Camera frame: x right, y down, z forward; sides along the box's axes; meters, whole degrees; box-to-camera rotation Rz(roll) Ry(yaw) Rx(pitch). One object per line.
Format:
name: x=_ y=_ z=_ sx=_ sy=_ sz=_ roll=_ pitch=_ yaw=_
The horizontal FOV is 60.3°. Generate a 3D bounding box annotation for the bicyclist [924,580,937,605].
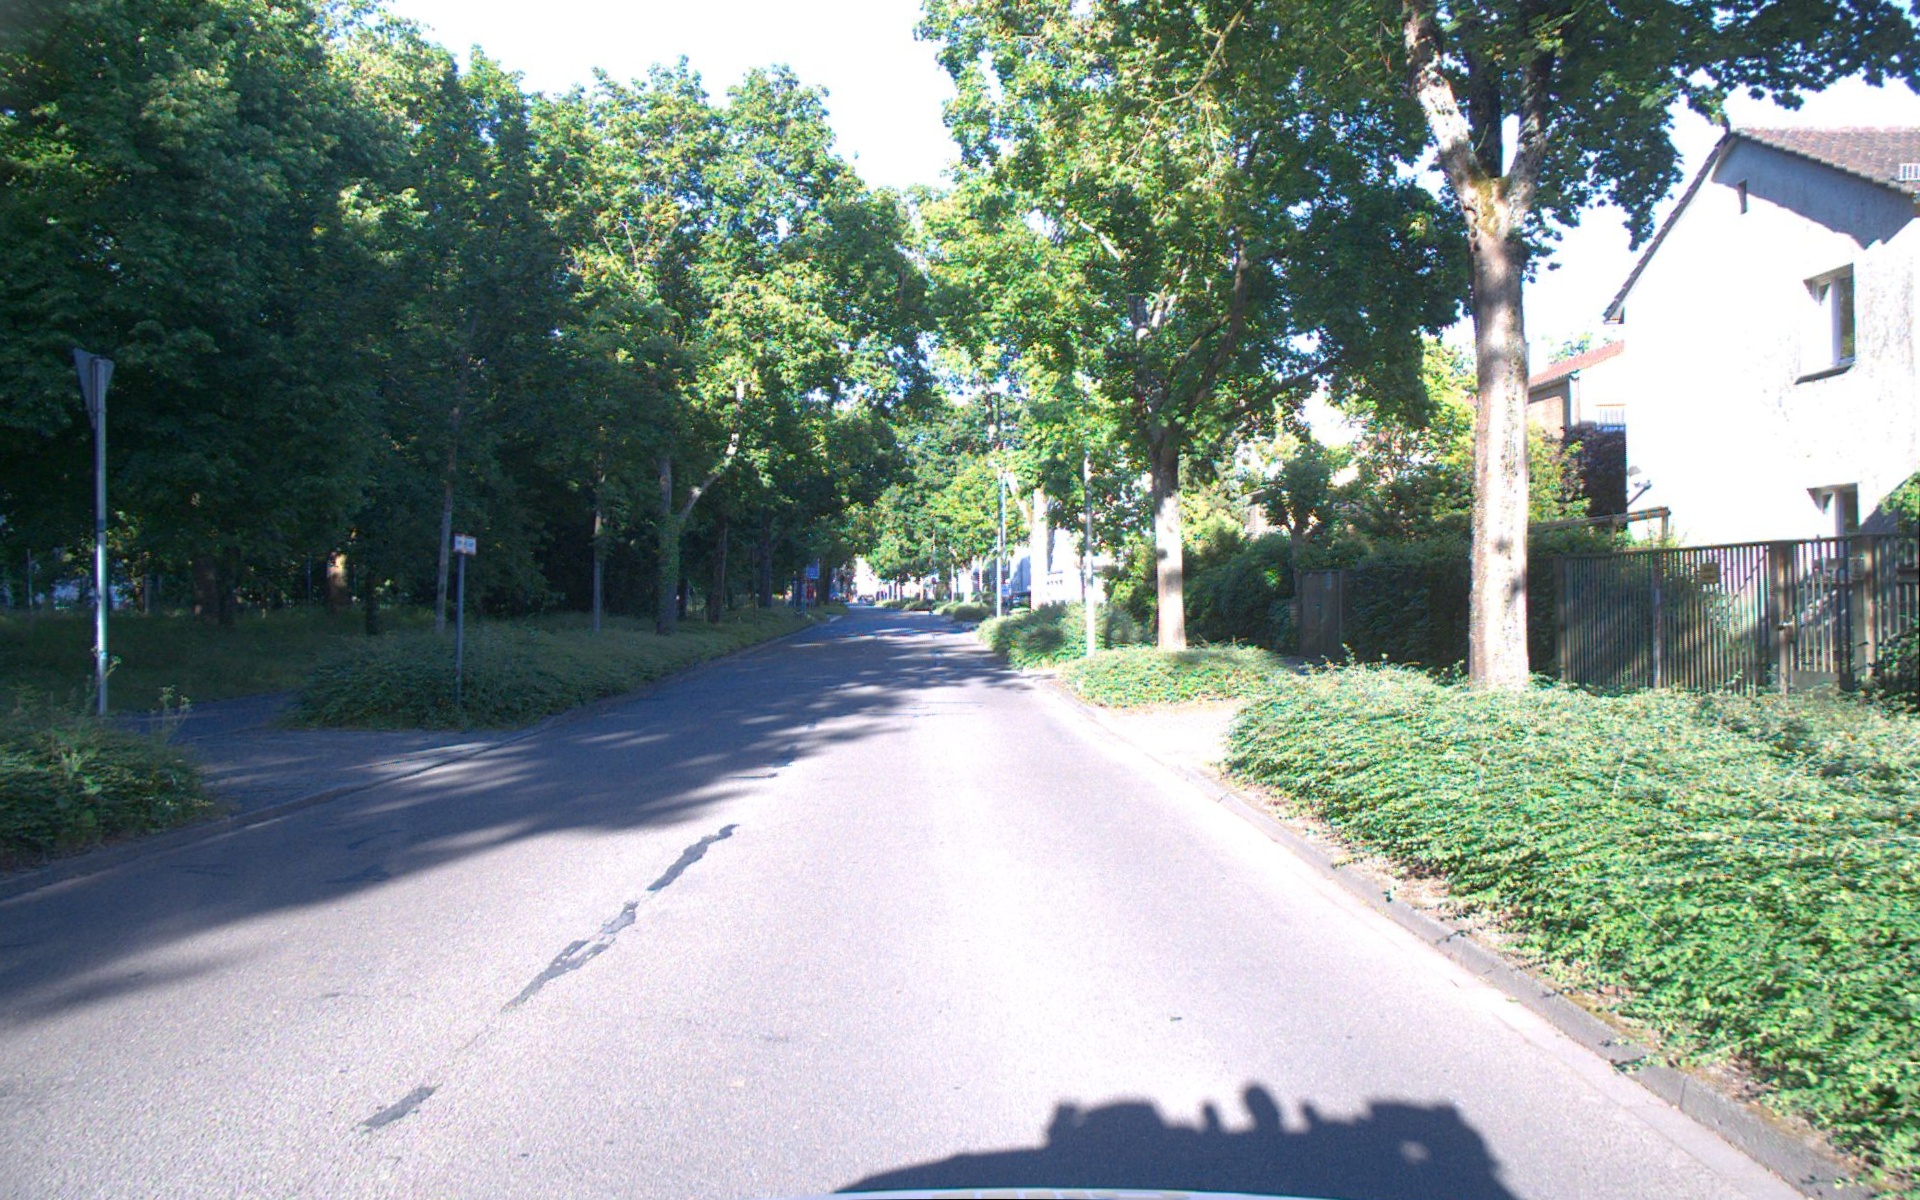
bicyclist: x=-2.042 y=-0.483 z=112.698 sx=0.849 sy=1.669 sz=1.114 roll=1 pitch=1 yaw=-2

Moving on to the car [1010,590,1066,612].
car: x=6.217 y=0.054 z=131.379 sx=4.259 sy=1.377 sz=2.145 roll=3 pitch=4 yaw=4

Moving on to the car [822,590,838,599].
car: x=-20.050 y=-0.900 z=254.794 sx=1.958 sy=1.378 sz=3.531 roll=0 pitch=0 yaw=-11

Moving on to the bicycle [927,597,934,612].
bicycle: x=-2.021 y=0.307 z=112.699 sx=0.430 sy=0.995 sz=1.661 roll=-1 pitch=2 yaw=-2
